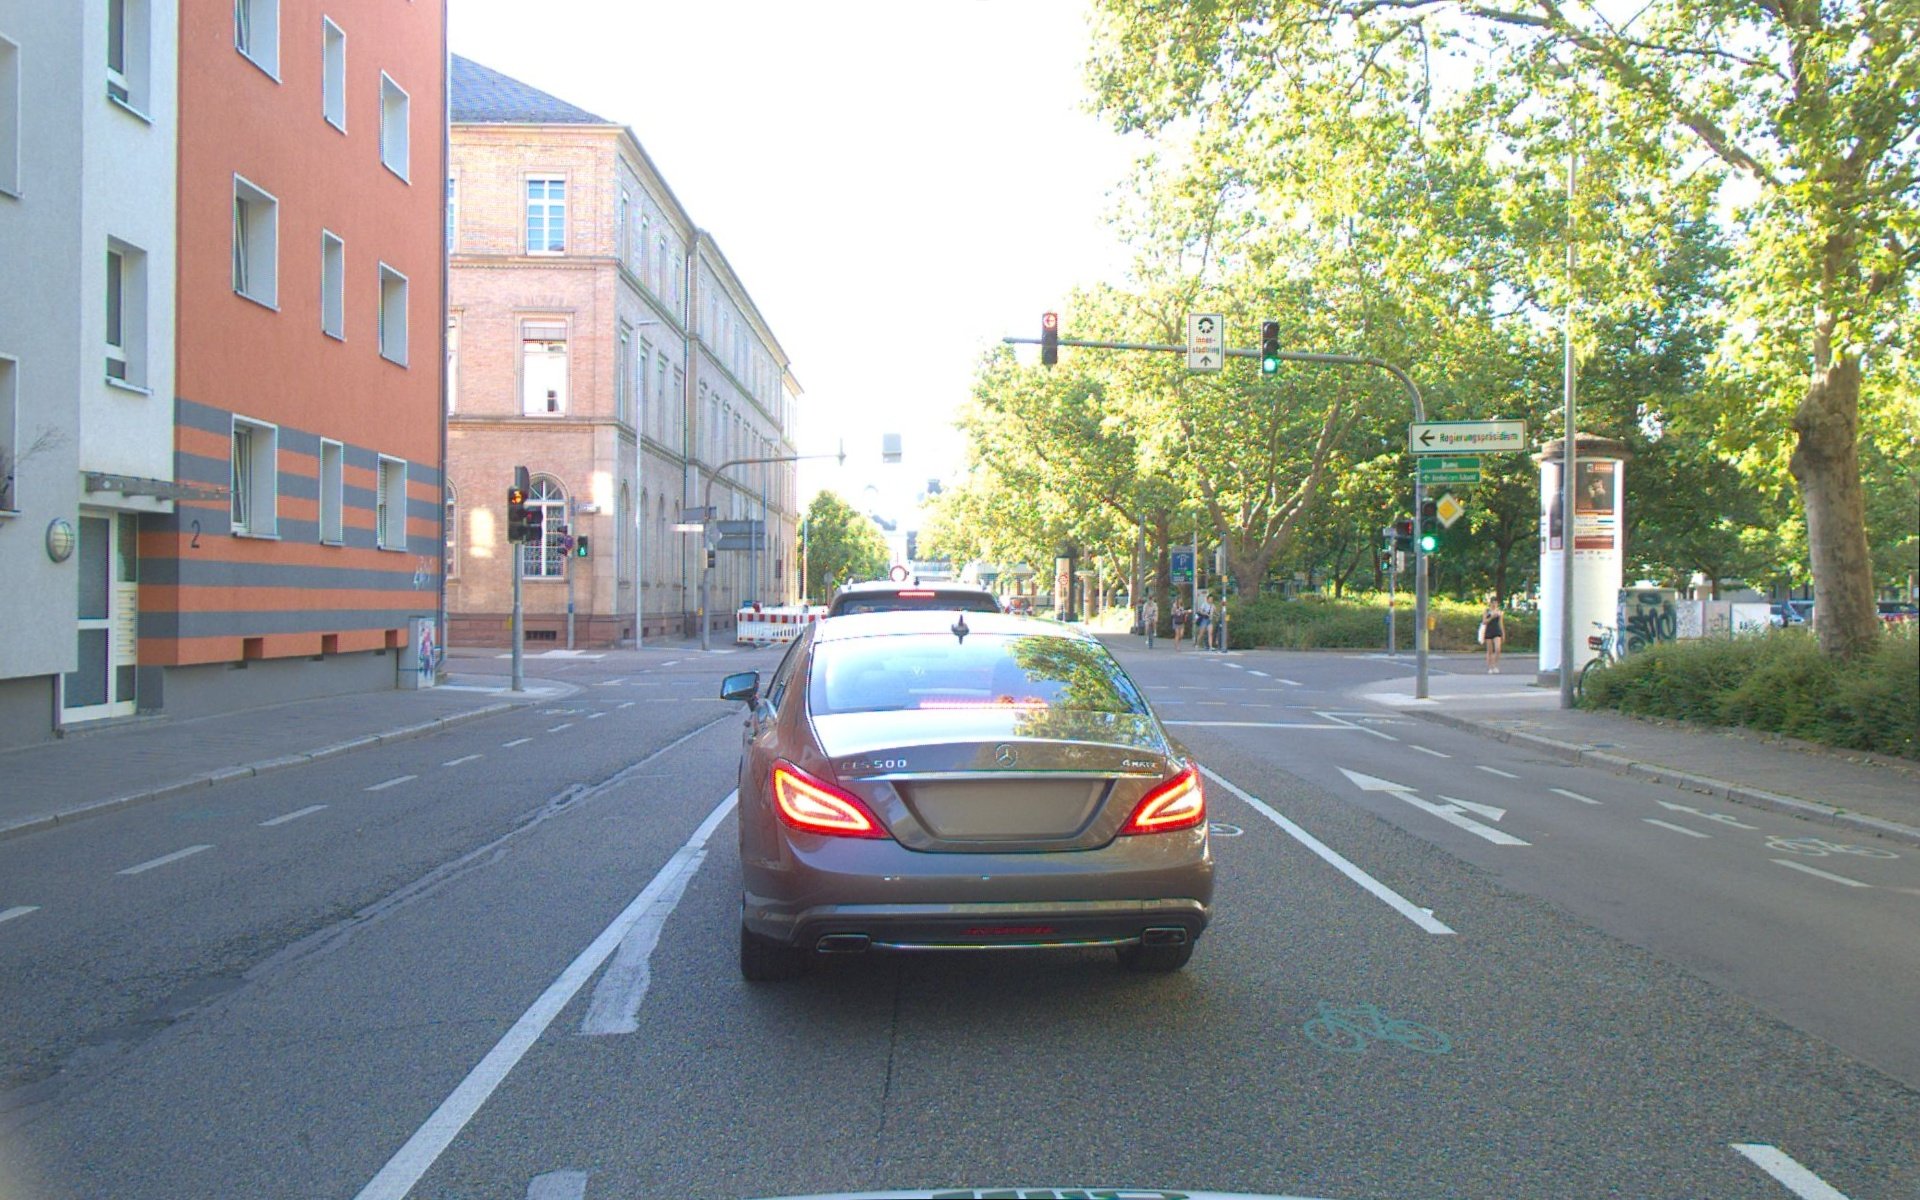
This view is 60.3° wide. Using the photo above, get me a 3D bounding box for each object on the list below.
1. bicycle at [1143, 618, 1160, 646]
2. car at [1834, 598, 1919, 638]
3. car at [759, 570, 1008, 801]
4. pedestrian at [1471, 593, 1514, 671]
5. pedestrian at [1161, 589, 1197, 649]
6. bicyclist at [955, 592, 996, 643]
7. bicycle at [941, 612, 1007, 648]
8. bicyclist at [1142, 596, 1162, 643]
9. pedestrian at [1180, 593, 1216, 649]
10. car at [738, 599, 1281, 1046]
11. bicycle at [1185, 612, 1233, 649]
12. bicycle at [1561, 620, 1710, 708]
[{"bbox_3d":[6.526,1.081,56.307,0.536,0.906,1.869,1,0,8],"label":"bicycle"},{"bbox_3d":[36.261,0.695,65.144,1.596,1.508,3.794,1,0,-2],"label":"car"},{"bbox_3d":[-0.520,0.618,13.797,1.772,1.641,4.000,0,0,1],"label":"car"},{"bbox_3d":[11.530,0.689,35.837,0.781,1.659,0.908,1,-1,13],"label":"pedestrian"},{"bbox_3d":[6.834,0.603,51.725,0.723,1.840,0.901,0,-2,-28],"label":"pedestrian"},{"bbox_3d":[0.476,0.517,50.049,0.941,1.526,0.813,1,-1,-32],"label":"bicyclist"},{"bbox_3d":[0.430,0.914,50.055,1.940,1.081,0.698,1,-1,-35],"label":"bicycle"},{"bbox_3d":[6.509,0.652,56.127,0.634,1.586,0.807,1,-1,8],"label":"bicyclist"},{"bbox_3d":[7.436,0.663,51.689,0.676,1.727,0.961,1,-1,-30],"label":"pedestrian"},{"bbox_3d":[-0.083,0.743,7.744,1.808,1.454,4.510,1,0,-7],"label":"car"},{"bbox_3d":[7.800,0.958,51.877,0.519,1.119,1.723,1,0,-30],"label":"bicycle"},{"bbox_3d":[9.695,0.910,23.754,1.936,1.210,0.528,1,-1,-2],"label":"bicycle"}]
